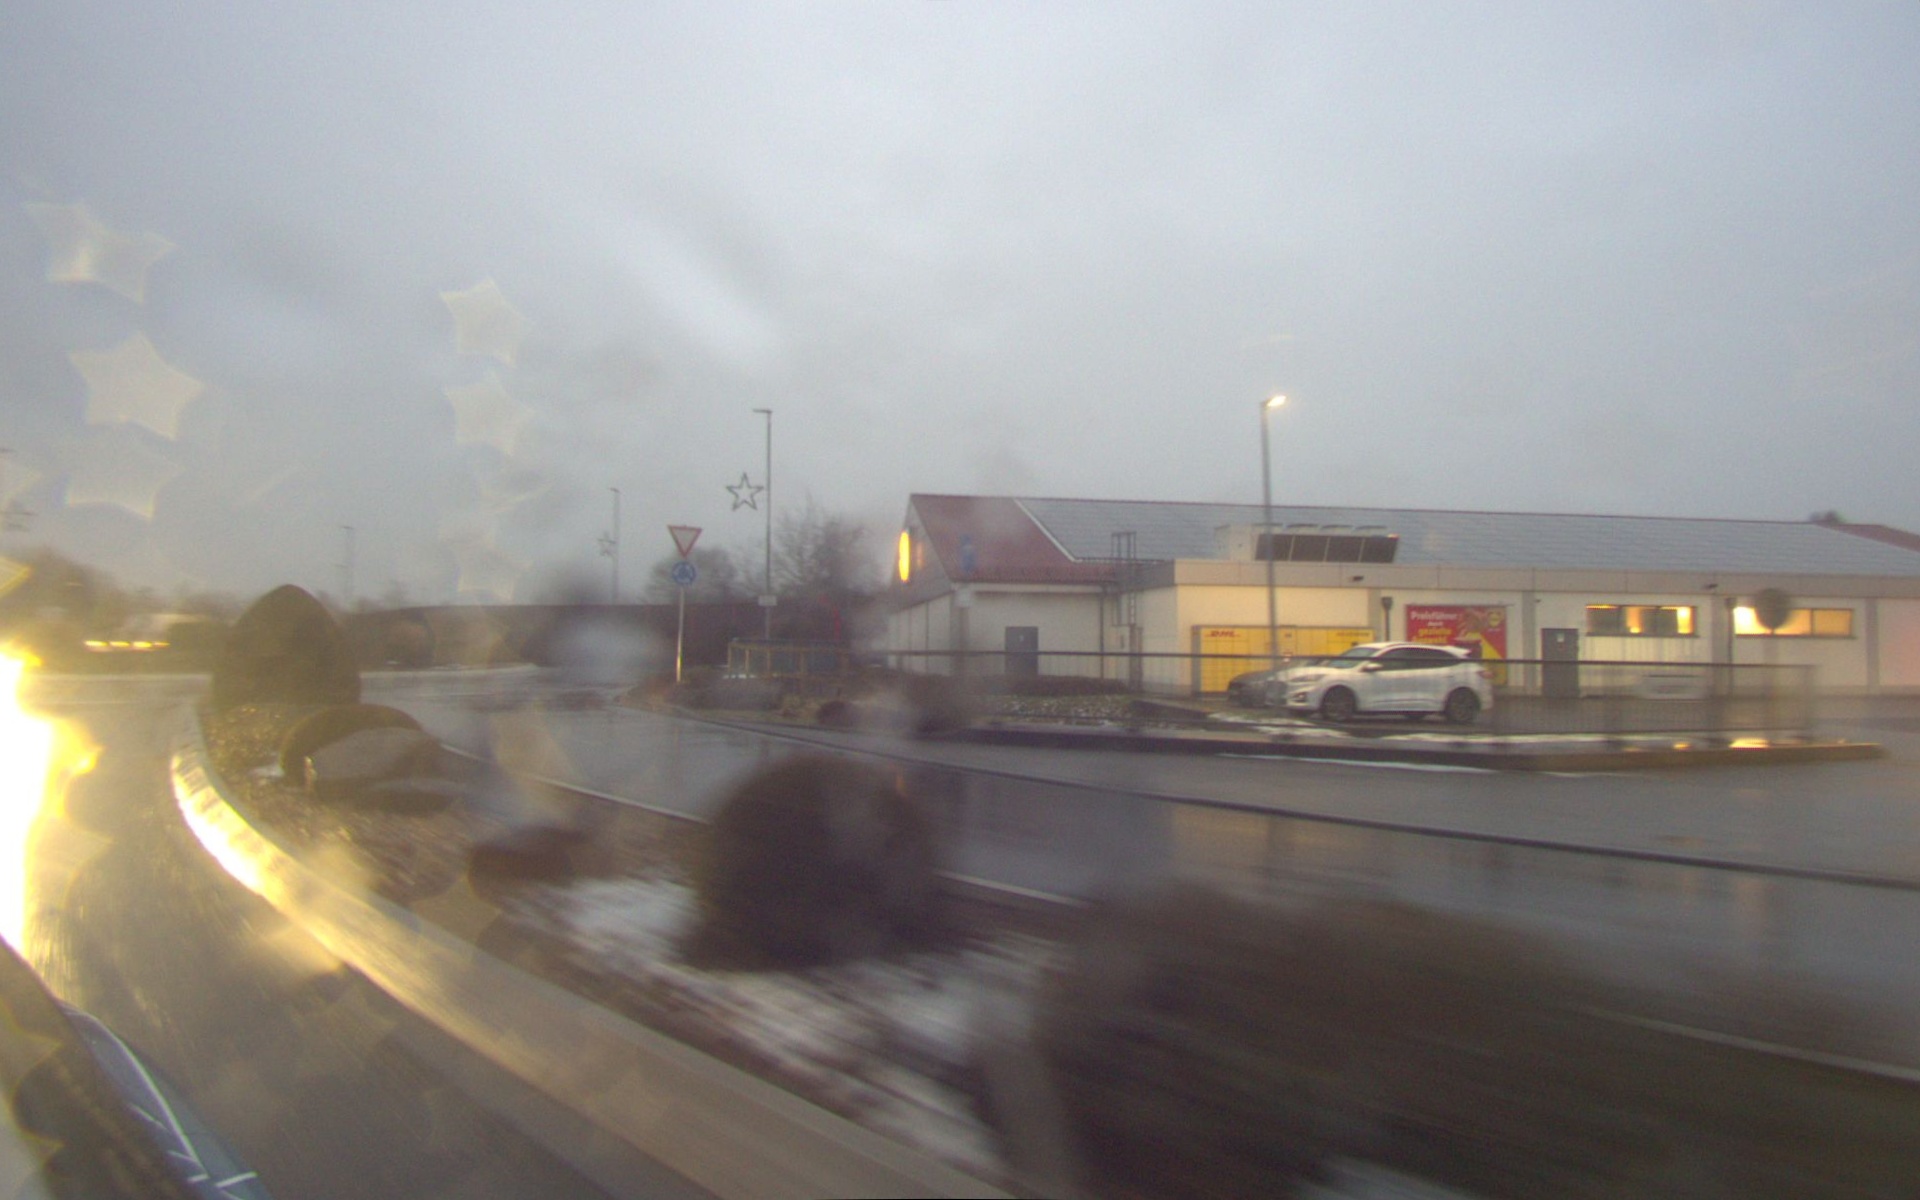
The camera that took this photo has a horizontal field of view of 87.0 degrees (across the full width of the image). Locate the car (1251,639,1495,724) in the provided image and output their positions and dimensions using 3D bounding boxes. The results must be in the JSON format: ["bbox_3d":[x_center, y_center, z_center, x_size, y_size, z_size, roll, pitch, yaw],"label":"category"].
[{"bbox_3d":[8.561,1.646,21.208,4.213,1.573,2.068,0,-1,-8],"label":"car"}]

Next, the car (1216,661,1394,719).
[{"bbox_3d":[8.904,2.306,26.301,3.937,1.321,1.845,0,-1,-8],"label":"car"}]

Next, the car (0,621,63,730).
[{"bbox_3d":[-14.972,1.045,14.605,4.229,1.472,1.792,0,-1,30],"label":"car"}]
